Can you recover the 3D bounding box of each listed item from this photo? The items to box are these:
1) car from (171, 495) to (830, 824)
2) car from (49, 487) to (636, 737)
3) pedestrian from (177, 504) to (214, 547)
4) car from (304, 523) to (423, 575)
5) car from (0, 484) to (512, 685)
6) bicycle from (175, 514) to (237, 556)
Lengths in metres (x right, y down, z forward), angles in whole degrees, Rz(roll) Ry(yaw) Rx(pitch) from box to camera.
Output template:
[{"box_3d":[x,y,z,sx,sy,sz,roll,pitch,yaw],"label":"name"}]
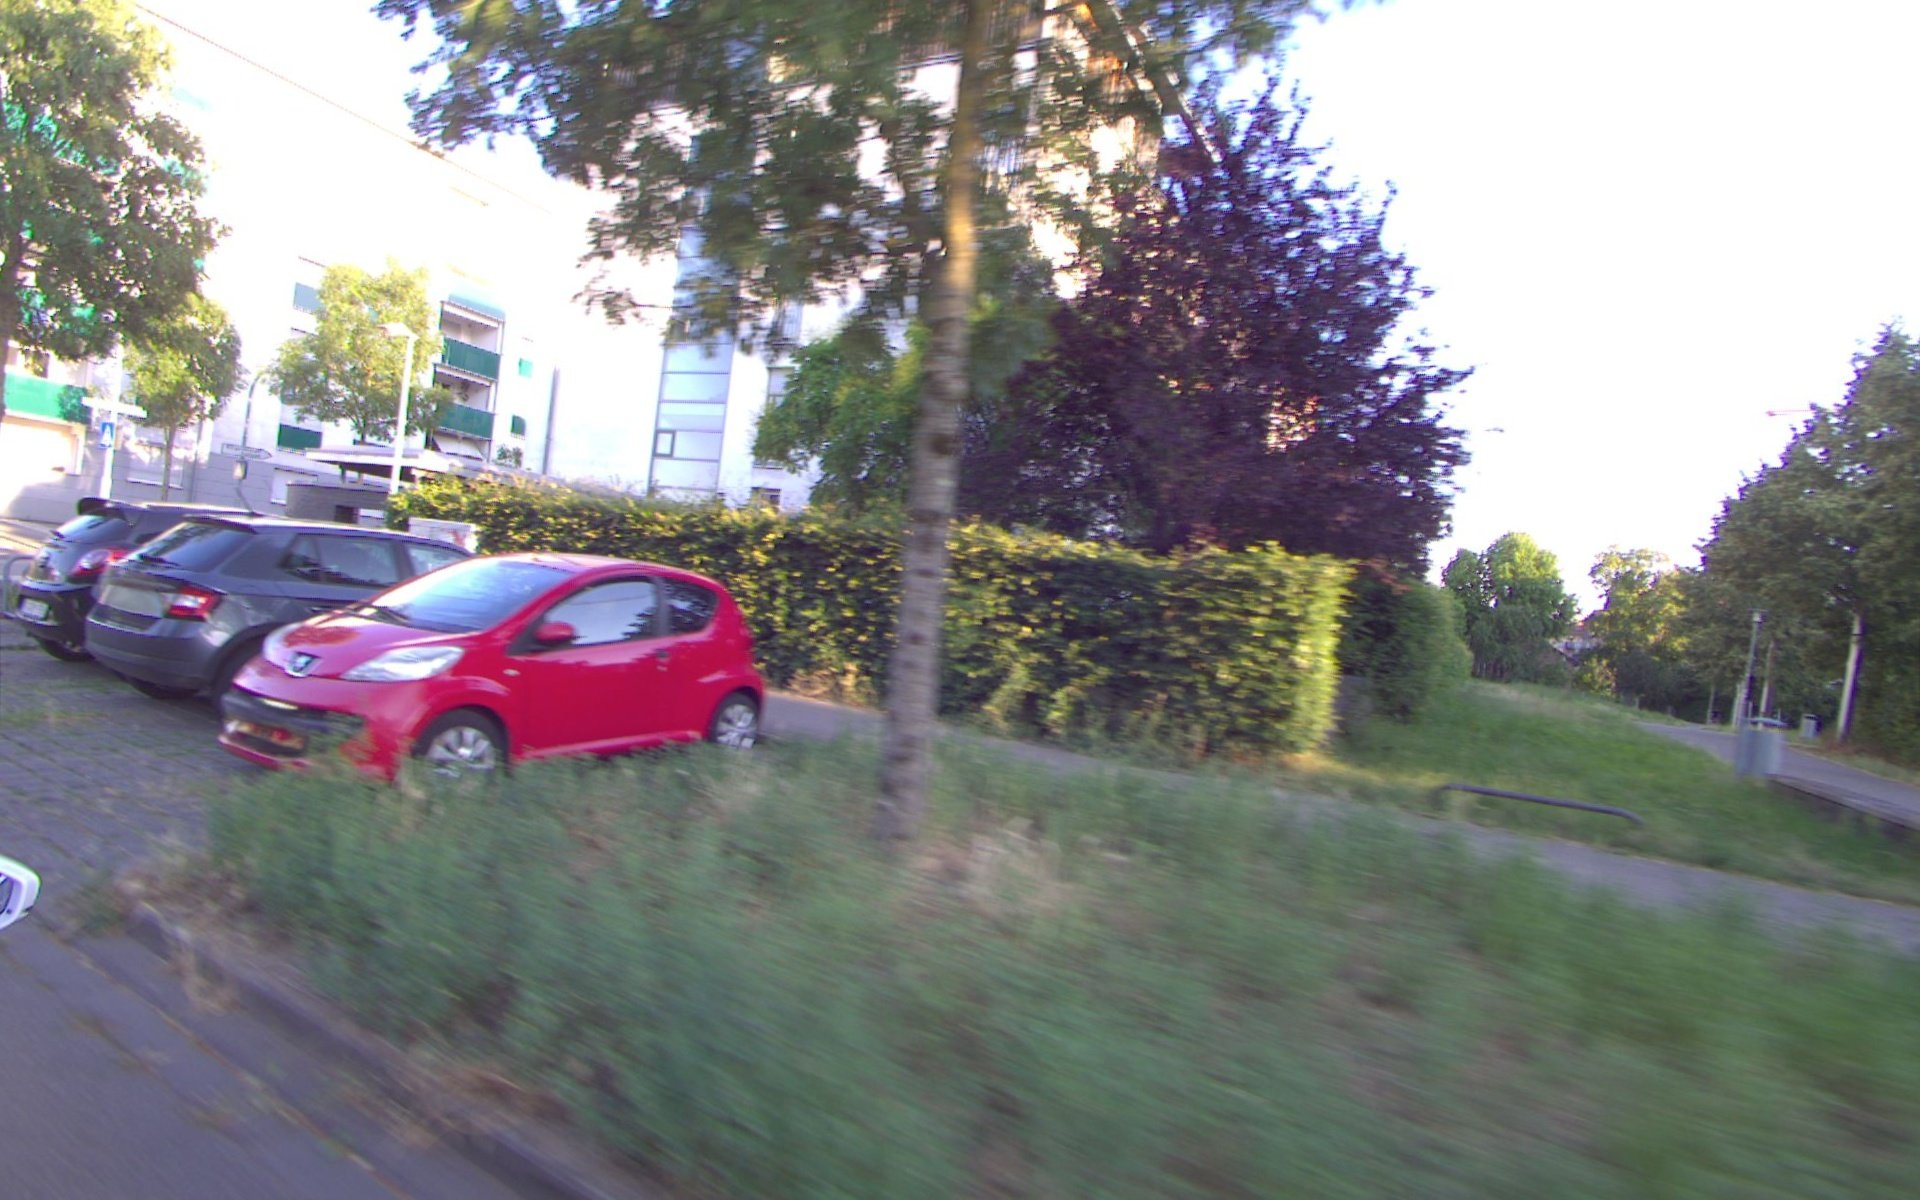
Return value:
[{"box_3d":[-2.786,0.379,6.984,1.650,1.527,3.809,7,0,29],"label":"car"},{"box_3d":[-4.853,0.162,8.495,1.650,1.527,3.809,7,0,29],"label":"car"},{"box_3d":[-26.563,-2.588,34.974,0.789,1.372,0.658,7,1,29],"label":"pedestrian"},{"box_3d":[-23.620,-2.035,39.809,4.515,1.471,1.997,7,0,30],"label":"car"},{"box_3d":[-6.661,-0.042,9.816,1.652,1.527,3.805,6,-1,33],"label":"car"},{"box_3d":[-25.943,-2.235,34.613,2.418,1.165,0.697,7,1,29],"label":"bicycle"}]
